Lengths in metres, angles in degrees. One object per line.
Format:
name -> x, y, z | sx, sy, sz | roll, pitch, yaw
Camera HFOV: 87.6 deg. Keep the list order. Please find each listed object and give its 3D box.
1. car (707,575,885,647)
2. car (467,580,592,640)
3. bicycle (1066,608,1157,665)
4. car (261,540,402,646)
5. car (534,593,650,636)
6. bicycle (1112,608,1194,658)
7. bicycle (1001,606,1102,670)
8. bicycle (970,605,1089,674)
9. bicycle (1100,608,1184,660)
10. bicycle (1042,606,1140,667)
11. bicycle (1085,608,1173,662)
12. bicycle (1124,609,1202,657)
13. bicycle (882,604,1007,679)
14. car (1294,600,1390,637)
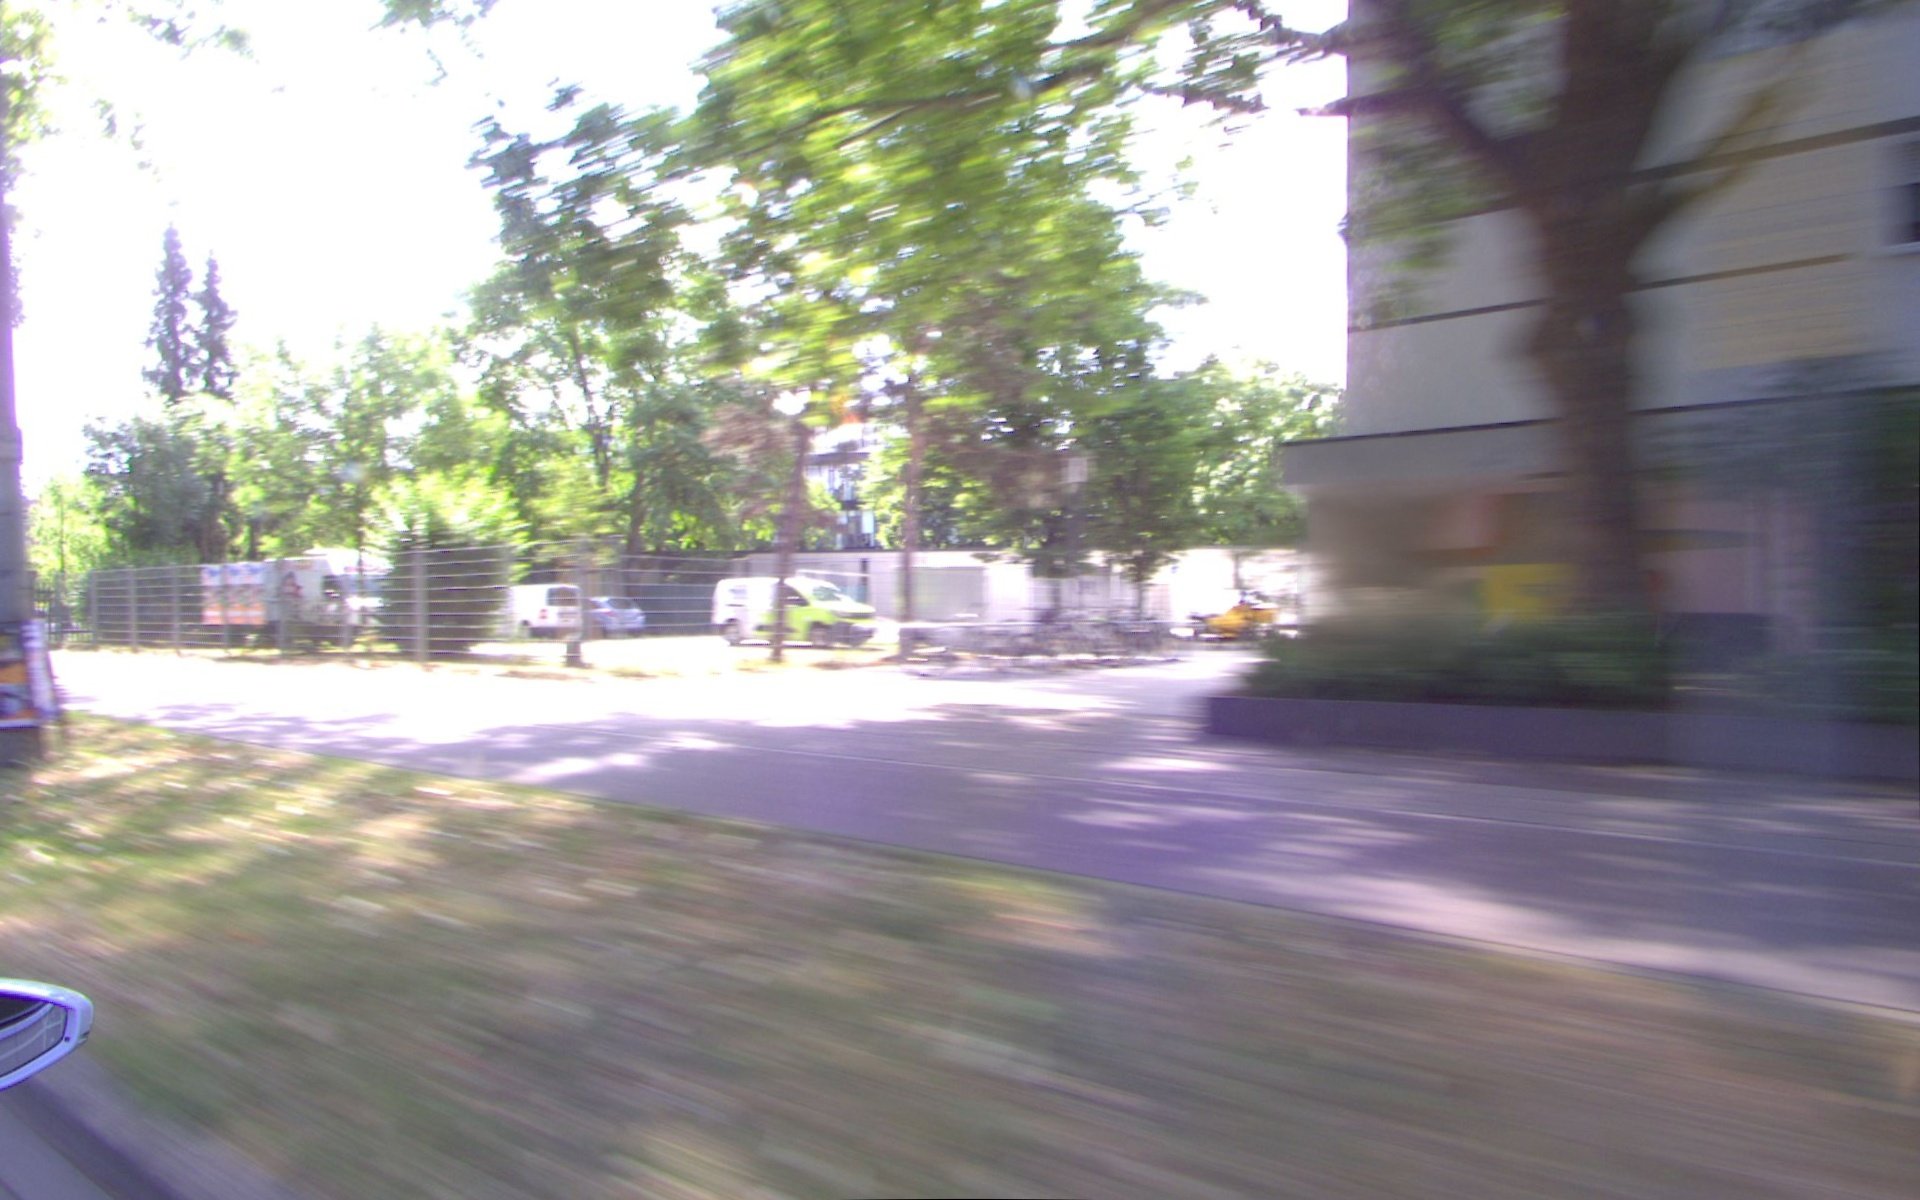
car -> -4.431, 0.280, 26.787 | 4.702, 1.779, 1.734 | 0, 0, 31
car -> -14.163, 0.327, 32.865 | 4.280, 1.839, 1.802 | 0, 0, 35
bicycle -> 2.950, 0.695, 19.565 | 1.699, 1.079, 0.515 | 0, 1, 27
car -> -17.966, -0.175, 28.578 | 4.218, 2.811, 1.803 | 0, 0, 33
car -> -12.921, 0.502, 35.079 | 3.990, 1.421, 1.803 | 0, 0, 33
bicycle -> 4.252, 0.710, 22.105 | 1.699, 1.079, 0.515 | 0, 1, 27
bicycle -> 1.596, 0.647, 17.564 | 1.699, 1.079, 0.515 | 0, 1, 27
bicycle -> 1.144, 0.633, 16.612 | 1.925, 1.099, 0.514 | 0, 1, 27
bicycle -> 3.870, 0.705, 21.304 | 1.699, 1.079, 0.515 | 0, 1, 27
bicycle -> 2.382, 0.649, 18.290 | 1.699, 1.079, 0.515 | 0, 1, 27
bicycle -> 3.444, 0.700, 20.472 | 1.699, 1.079, 0.515 | 0, 1, 27
bicycle -> 4.682, 0.745, 23.153 | 1.699, 1.079, 0.515 | 0, 1, 27
bicycle -> -0.240, 0.602, 15.213 | 1.809, 1.087, 0.605 | 0, 1, 24
car -> 17.523, 0.845, 46.073 | 3.851, 1.654, 1.708 | 0, 1, 7
